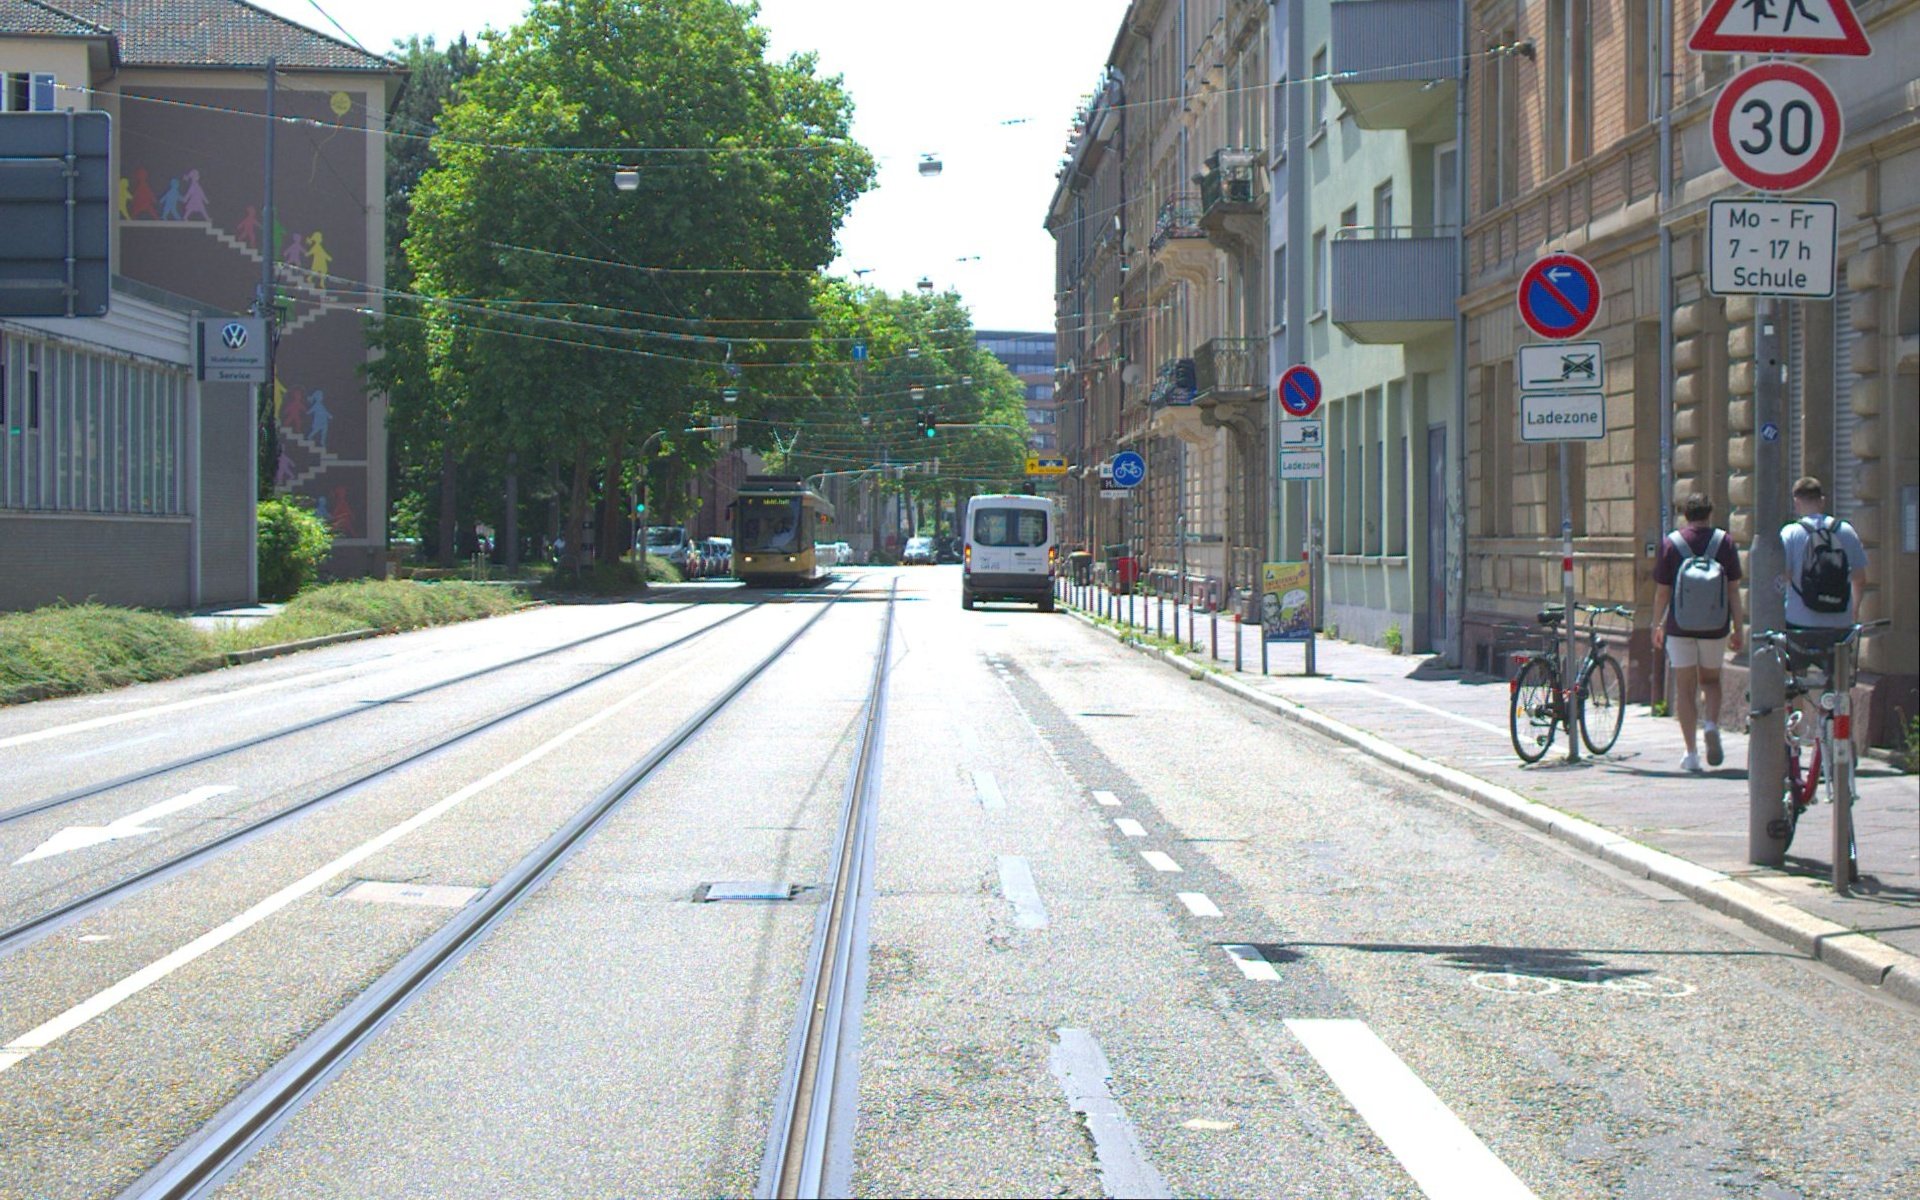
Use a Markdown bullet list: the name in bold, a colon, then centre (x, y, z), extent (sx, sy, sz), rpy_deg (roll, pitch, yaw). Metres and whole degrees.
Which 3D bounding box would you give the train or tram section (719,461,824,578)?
- **train or tram section**: centre (-6.035, -2.605, 111.834), extent (2.960, 3.568, 13.424), rpy_deg (0, 1, -1)

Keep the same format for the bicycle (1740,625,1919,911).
- **bicycle**: centre (3.845, 0.691, 15.151), extent (0.447, 1.093, 2.422), rpy_deg (0, 1, 5)

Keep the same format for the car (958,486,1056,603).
- **car**: centre (1.034, -1.264, 77.060), extent (2.067, 2.492, 5.454), rpy_deg (1, 1, 0)

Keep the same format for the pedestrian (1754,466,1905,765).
- **pedestrian**: centre (5.559, 0.093, 22.013), extent (0.702, 1.842, 0.644), rpy_deg (-4, 1, 1)

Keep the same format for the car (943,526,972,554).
- **car**: centre (-0.198, -3.988, 228.185), extent (1.673, 1.853, 4.001), rpy_deg (1, 1, -4)

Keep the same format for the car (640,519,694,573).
- **car**: centre (-10.809, -1.997, 127.018), extent (1.800, 1.916, 4.001), rpy_deg (1, 1, -3)

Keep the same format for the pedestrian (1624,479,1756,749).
- **pedestrian**: centre (4.709, 0.085, 22.202), extent (0.720, 1.714, 0.644), rpy_deg (0, 1, 0)

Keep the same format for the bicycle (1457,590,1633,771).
- **bicycle**: centre (3.992, 0.520, 23.341), extent (0.499, 1.127, 2.239), rpy_deg (0, 1, 28)
